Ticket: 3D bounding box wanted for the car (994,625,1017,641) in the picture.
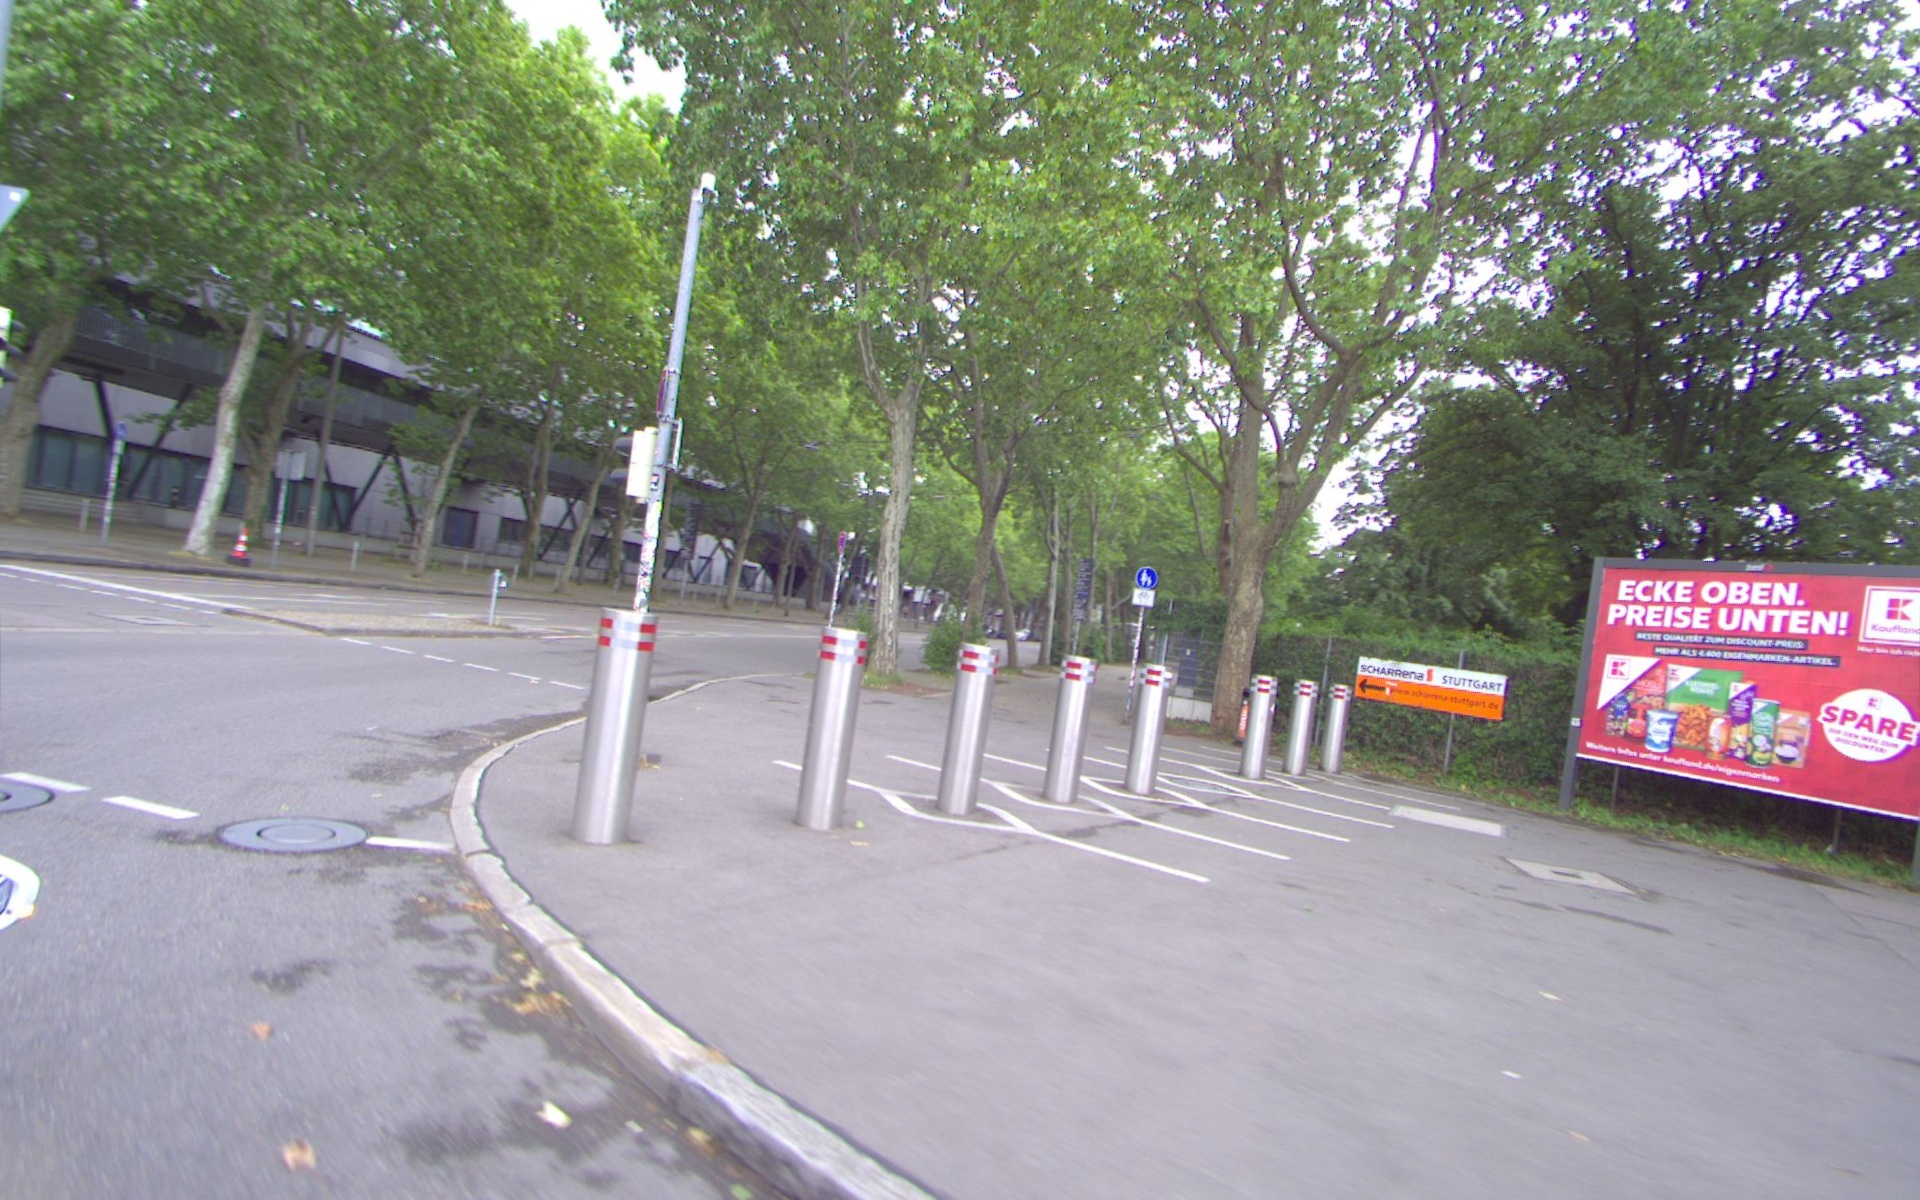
[{"bbox_3d":[5.070,3.711,112.563,1.737,1.434,3.767,6,-3,14],"label":"car"}]
